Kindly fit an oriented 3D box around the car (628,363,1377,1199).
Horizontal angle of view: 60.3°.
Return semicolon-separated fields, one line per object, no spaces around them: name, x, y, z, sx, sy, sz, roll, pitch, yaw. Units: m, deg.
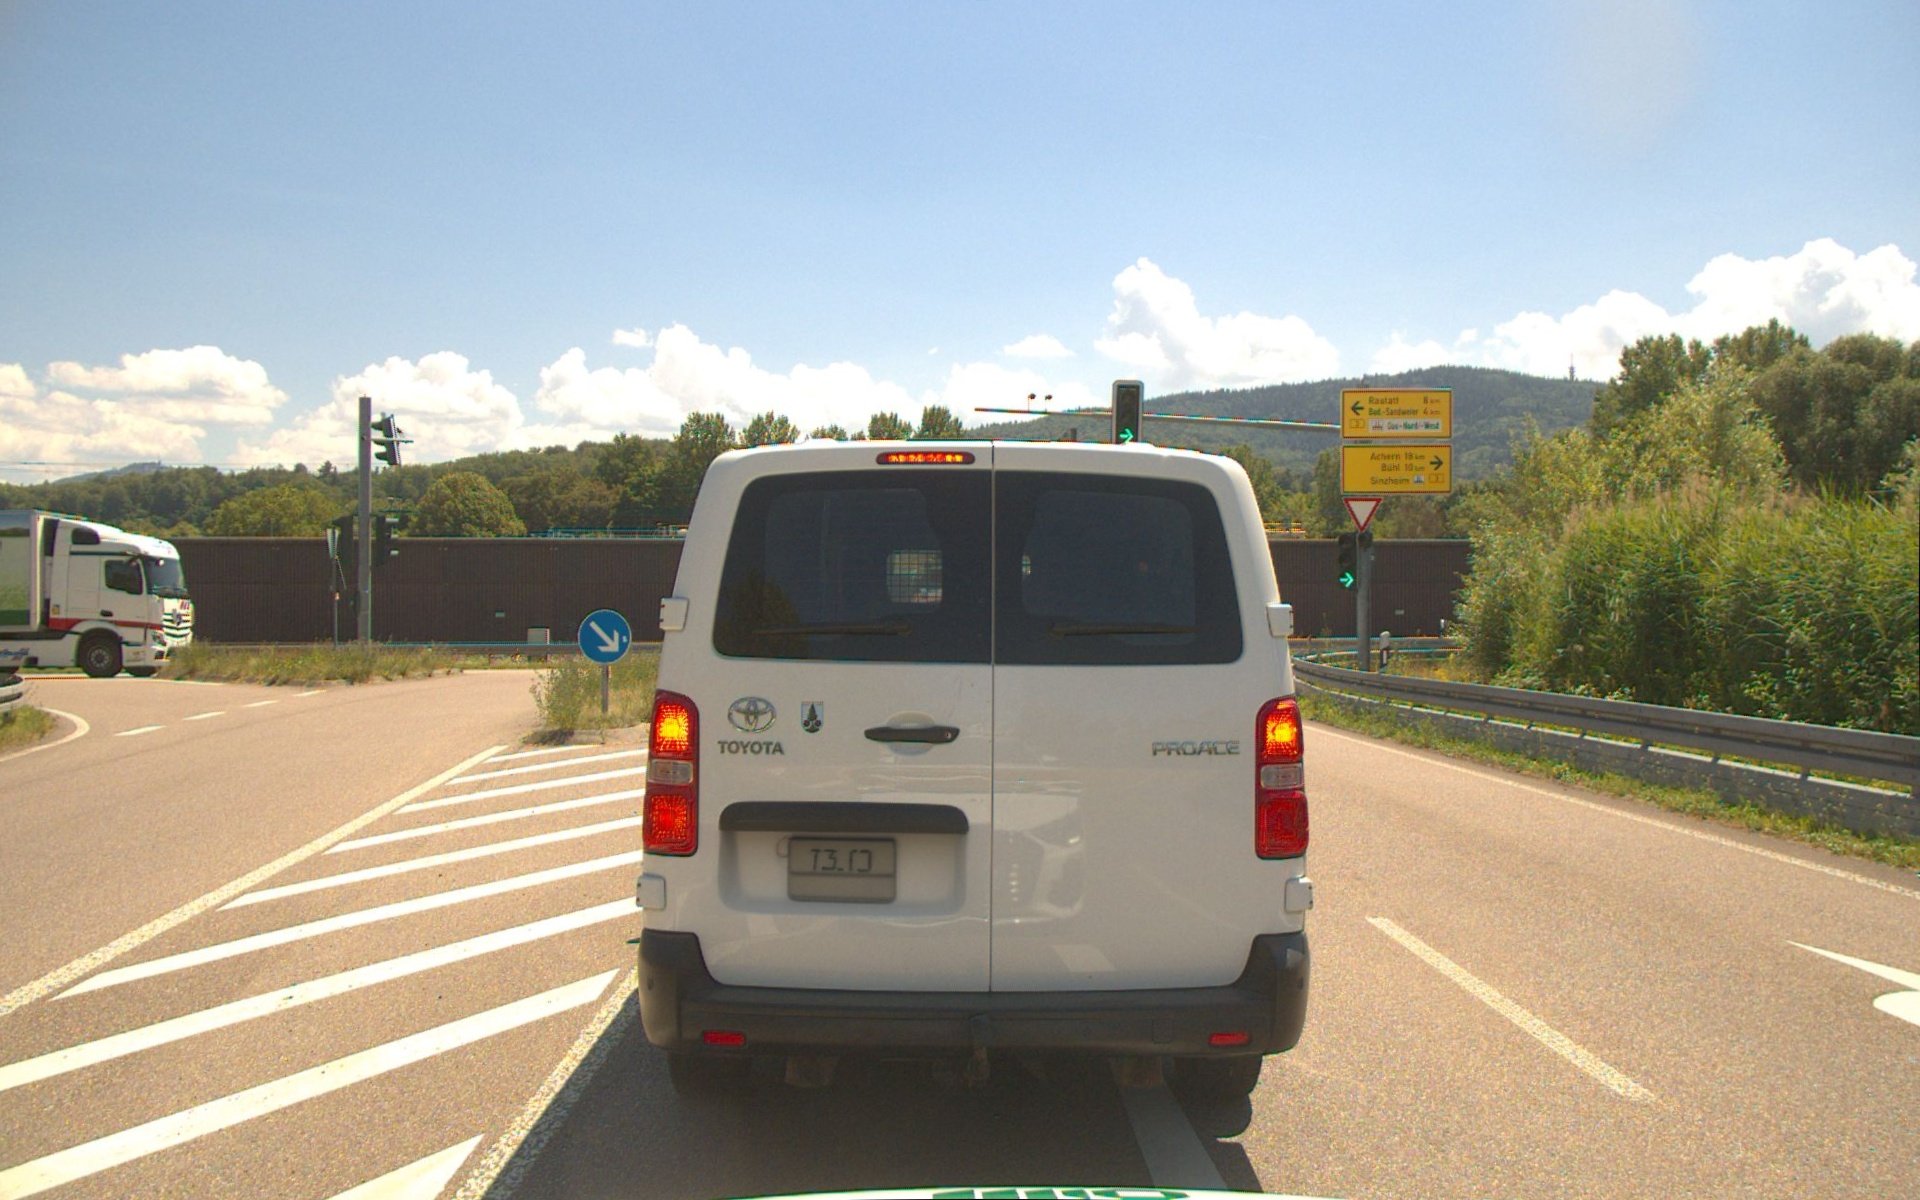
car;0.077;0.478;5.936;1.778;2.053;3.999;0;0;-1

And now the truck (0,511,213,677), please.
truck;-22.398;-0.136;41.791;5.649;4.024;3.061;0;-1;-3

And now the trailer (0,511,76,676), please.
trailer;-29.527;-0.173;41.452;12.877;4.024;3.060;0;-1;-3
